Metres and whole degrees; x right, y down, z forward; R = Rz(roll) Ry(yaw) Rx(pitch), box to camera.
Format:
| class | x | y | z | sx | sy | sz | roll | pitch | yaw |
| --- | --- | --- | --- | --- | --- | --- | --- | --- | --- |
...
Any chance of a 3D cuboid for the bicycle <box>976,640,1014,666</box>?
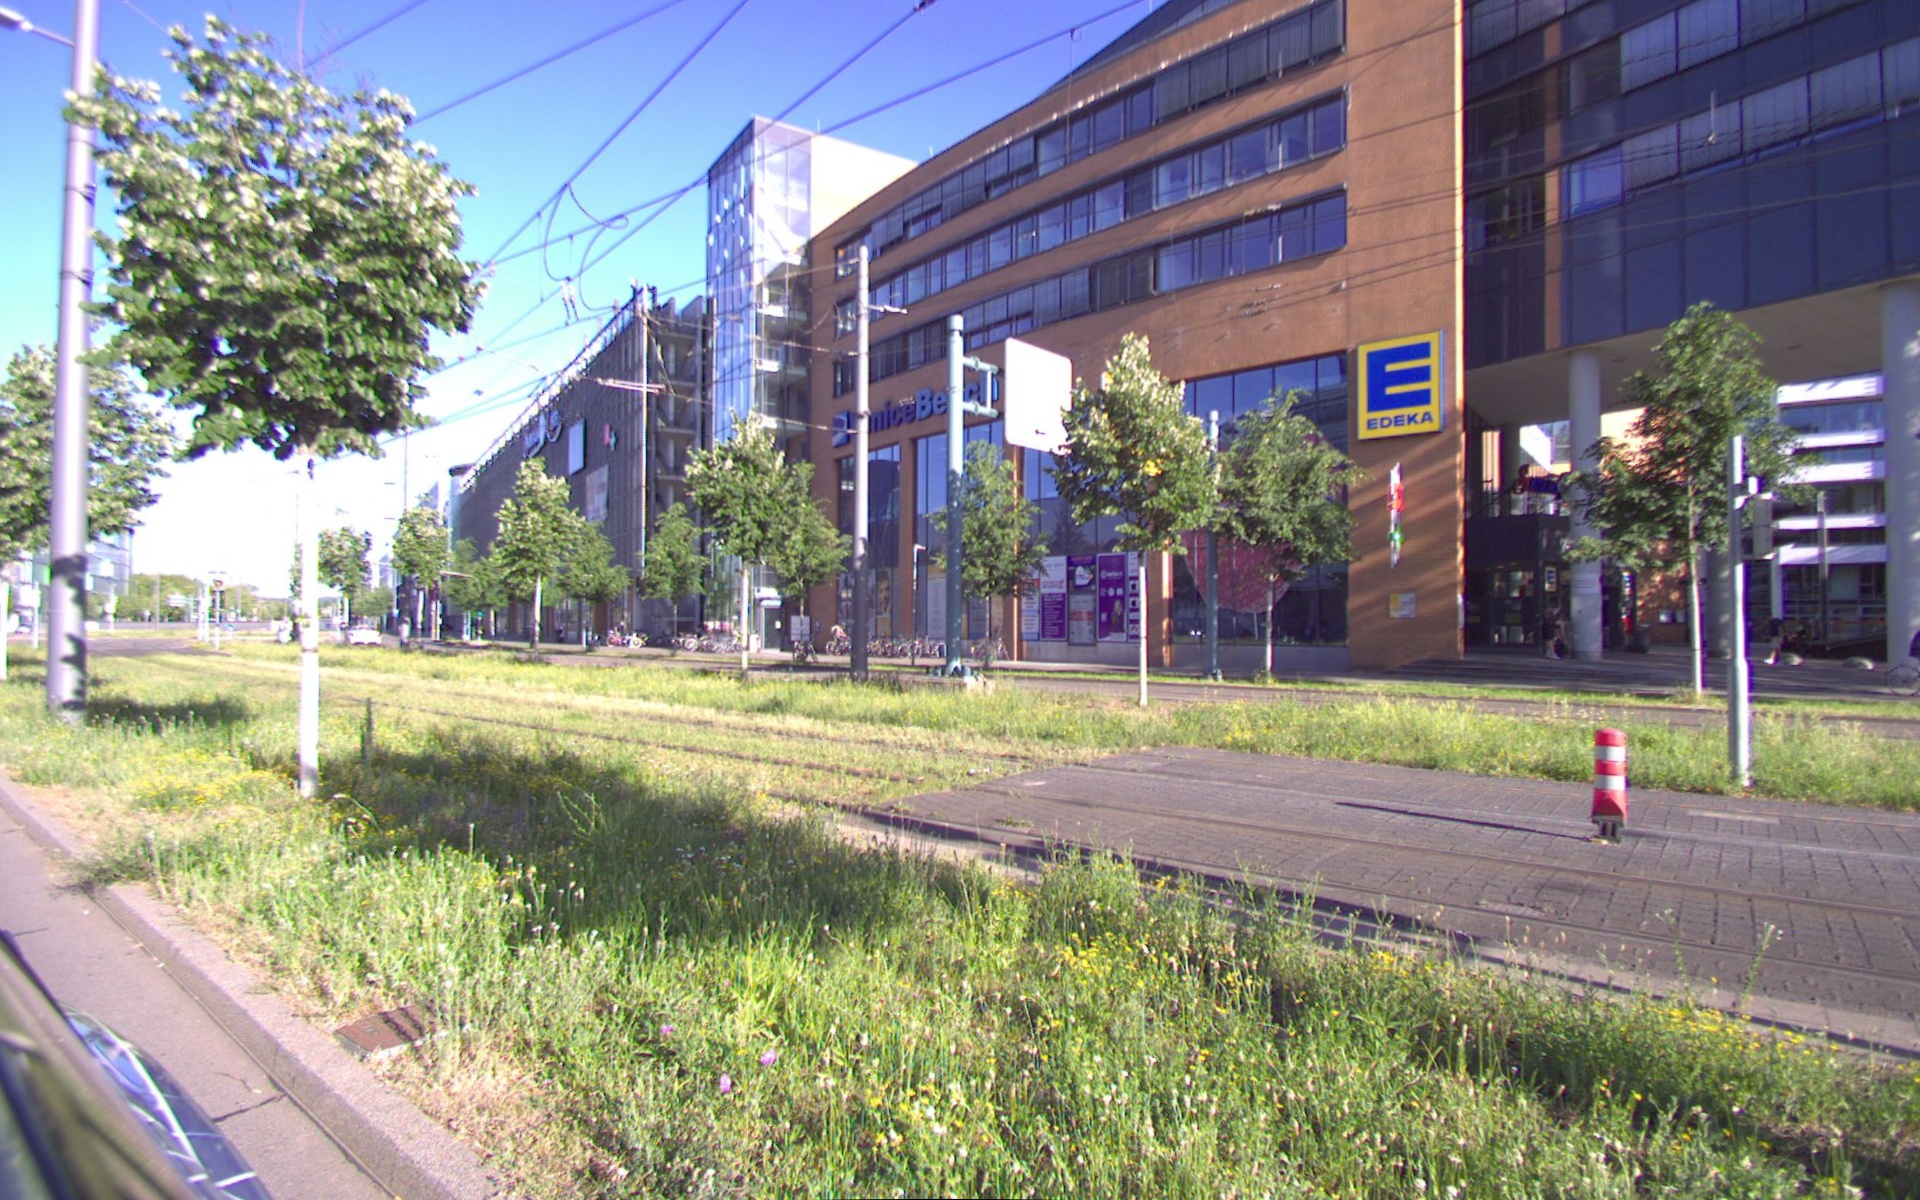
| class | x | y | z | sx | sy | sz | roll | pitch | yaw |
| --- | --- | --- | --- | --- | --- | --- | --- | --- | --- |
| bicycle | 1.486 | 2.192 | 42.216 | 1.744 | 1.057 | 0.491 | 1 | -2 | -42 |

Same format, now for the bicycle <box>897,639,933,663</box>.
| class | x | y | z | sx | sy | sz | roll | pitch | yaw |
| --- | --- | --- | --- | --- | --- | --- | --- | --- | --- |
| bicycle | -2.070 | 2.345 | 46.462 | 1.744 | 1.057 | 0.491 | 1 | -2 | -42 |

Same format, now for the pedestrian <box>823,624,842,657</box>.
| class | x | y | z | sx | sy | sz | roll | pitch | yaw |
| --- | --- | --- | --- | --- | --- | --- | --- | --- | --- |
| pedestrian | -6.498 | 2.051 | 51.577 | 0.736 | 1.681 | 0.676 | 1 | -2 | -43 |

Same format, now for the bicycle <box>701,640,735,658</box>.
| class | x | y | z | sx | sy | sz | roll | pitch | yaw |
| --- | --- | --- | --- | --- | --- | --- | --- | --- | --- |
| bicycle | -13.457 | 2.708 | 56.202 | 1.741 | 0.933 | 0.566 | 1 | -2 | -33 |

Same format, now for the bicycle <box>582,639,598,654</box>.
| class | x | y | z | sx | sy | sz | roll | pitch | yaw |
| --- | --- | --- | --- | --- | --- | --- | --- | --- | --- |
| bicycle | -21.799 | 2.750 | 59.668 | 0.380 | 0.875 | 1.775 | 1 | -2 | -37 |

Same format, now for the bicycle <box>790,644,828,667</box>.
| class | x | y | z | sx | sy | sz | roll | pitch | yaw |
| --- | --- | --- | --- | --- | --- | --- | --- | --- | --- |
| bicycle | -6.047 | 2.195 | 40.433 | 1.770 | 0.875 | 0.458 | -1 | -2 | 41 |

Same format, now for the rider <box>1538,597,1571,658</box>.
| class | x | y | z | sx | sy | sz | roll | pitch | yaw |
| --- | --- | --- | --- | --- | --- | --- | --- | --- | --- |
| rider | 18.054 | 0.821 | 30.717 | 0.712 | 1.816 | 0.710 | -2 | -2 | 41 |

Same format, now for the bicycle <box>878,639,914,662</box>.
| class | x | y | z | sx | sy | sz | roll | pitch | yaw |
| --- | --- | --- | --- | --- | --- | --- | --- | --- | --- |
| bicycle | -3.002 | 2.365 | 47.519 | 1.744 | 1.057 | 0.491 | 1 | -2 | -42 |

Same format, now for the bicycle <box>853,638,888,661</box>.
| class | x | y | z | sx | sy | sz | roll | pitch | yaw |
| --- | --- | --- | --- | --- | --- | --- | --- | --- | --- |
| bicycle | -4.314 | 2.393 | 49.035 | 1.744 | 1.057 | 0.491 | 1 | -2 | -42 |

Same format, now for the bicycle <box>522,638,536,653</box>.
| class | x | y | z | sx | sy | sz | roll | pitch | yaw |
| --- | --- | --- | --- | --- | --- | --- | --- | --- | --- |
| bicycle | -26.513 | 2.786 | 62.241 | 0.380 | 0.930 | 1.775 | 1 | -2 | -37 |

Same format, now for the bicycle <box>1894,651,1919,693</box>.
| class | x | y | z | sx | sy | sz | roll | pitch | yaw |
| --- | --- | --- | --- | --- | --- | --- | --- | --- | --- |
| bicycle | 22.164 | 1.621 | 22.572 | 1.886 | 0.917 | 0.493 | -1 | -2 | 38 |

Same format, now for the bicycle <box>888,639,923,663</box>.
| class | x | y | z | sx | sy | sz | roll | pitch | yaw |
| --- | --- | --- | --- | --- | --- | --- | --- | --- | --- |
| bicycle | -2.529 | 2.355 | 47.014 | 1.744 | 1.057 | 0.491 | 1 | -2 | -42 |

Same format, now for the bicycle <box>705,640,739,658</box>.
| class | x | y | z | sx | sy | sz | roll | pitch | yaw |
| --- | --- | --- | --- | --- | --- | --- | --- | --- | --- |
| bicycle | -13.081 | 2.699 | 55.643 | 1.741 | 0.933 | 0.566 | 1 | -2 | -33 |

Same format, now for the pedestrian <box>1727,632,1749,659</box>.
| class | x | y | z | sx | sy | sz | roll | pitch | yaw |
| --- | --- | --- | --- | --- | --- | --- | --- | --- | --- |
| pedestrian | 44.600 | 2.599 | 58.011 | 1.038 | 1.491 | 0.660 | -1 | -1 | -33 |

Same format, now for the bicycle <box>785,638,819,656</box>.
| class | x | y | z | sx | sy | sz | roll | pitch | yaw |
| --- | --- | --- | --- | --- | --- | --- | --- | --- | --- |
| bicycle | -8.523 | 2.523 | 54.654 | 1.741 | 0.933 | 0.566 | 1 | -2 | -33 |

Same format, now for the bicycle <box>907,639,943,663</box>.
| class | x | y | z | sx | sy | sz | roll | pitch | yaw |
| --- | --- | --- | --- | --- | --- | --- | --- | --- | --- |
| bicycle | -1.598 | 2.303 | 45.990 | 1.744 | 1.057 | 0.491 | 1 | -2 | -42 |

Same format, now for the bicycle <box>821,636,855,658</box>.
| class | x | y | z | sx | sy | sz | roll | pitch | yaw |
| --- | --- | --- | --- | --- | --- | --- | --- | --- | --- |
| bicycle | -6.141 | 2.367 | 51.116 | 1.744 | 1.057 | 0.491 | 1 | -2 | -42 |

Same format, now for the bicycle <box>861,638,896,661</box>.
| class | x | y | z | sx | sy | sz | roll | pitch | yaw |
| --- | --- | --- | --- | --- | --- | --- | --- | --- | --- |
| bicycle | -3.889 | 2.384 | 48.485 | 1.744 | 1.057 | 0.491 | 1 | -2 | -42 |

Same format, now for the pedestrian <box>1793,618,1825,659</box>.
| class | x | y | z | sx | sy | sz | roll | pitch | yaw |
| --- | --- | --- | --- | --- | --- | --- | --- | --- | --- |
| pedestrian | 36.302 | 1.640 | 43.267 | 0.778 | 1.720 | 0.810 | 0 | -1 | -33 |

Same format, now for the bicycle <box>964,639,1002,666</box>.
| class | x | y | z | sx | sy | sz | roll | pitch | yaw |
| --- | --- | --- | --- | --- | --- | --- | --- | --- | --- |
| bicycle | 0.994 | 2.202 | 42.675 | 1.744 | 1.057 | 0.491 | 1 | -2 | -42 |

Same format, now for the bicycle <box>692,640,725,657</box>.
| class | x | y | z | sx | sy | sz | roll | pitch | yaw |
| --- | --- | --- | --- | --- | --- | --- | --- | --- | --- |
| bicycle | -14.260 | 2.727 | 57.401 | 1.741 | 0.933 | 0.566 | 1 | -2 | -33 |

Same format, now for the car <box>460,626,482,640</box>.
| class | x | y | z | sx | sy | sz | roll | pitch | yaw |
| --- | --- | --- | --- | --- | --- | --- | --- | --- | --- |
| car | -56.404 | 3.800 | 116.606 | 1.559 | 1.541 | 3.758 | 0 | -1 | -37 |

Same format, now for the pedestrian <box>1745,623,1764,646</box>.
| class | x | y | z | sx | sy | sz | roll | pitch | yaw |
| --- | --- | --- | --- | --- | --- | --- | --- | --- | --- |
| pedestrian | 46.108 | 1.988 | 58.713 | 0.627 | 1.287 | 0.664 | 0 | -1 | -33 |

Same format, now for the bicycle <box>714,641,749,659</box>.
| class | x | y | z | sx | sy | sz | roll | pitch | yaw |
| --- | --- | --- | --- | --- | --- | --- | --- | --- | --- |
| bicycle | -12.250 | 2.679 | 54.270 | 1.741 | 0.933 | 0.566 | 1 | -2 | -33 |

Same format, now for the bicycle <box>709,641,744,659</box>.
| class | x | y | z | sx | sy | sz | roll | pitch | yaw |
| --- | --- | --- | --- | --- | --- | --- | --- | --- | --- |
| bicycle | -12.673 | 2.690 | 55.000 | 1.741 | 0.933 | 0.566 | 1 | -2 | -33 |

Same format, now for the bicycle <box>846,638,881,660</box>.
| class | x | y | z | sx | sy | sz | roll | pitch | yaw |
| --- | --- | --- | --- | --- | --- | --- | --- | --- | --- |
| bicycle | -4.723 | 2.402 | 49.552 | 1.744 | 1.057 | 0.491 | 1 | -2 | -42 |

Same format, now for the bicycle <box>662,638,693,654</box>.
| class | x | y | z | sx | sy | sz | roll | pitch | yaw |
| --- | --- | --- | --- | --- | --- | --- | --- | --- | --- |
| bicycle | -17.049 | 2.797 | 61.107 | 1.741 | 0.933 | 0.492 | 1 | -2 | -33 |

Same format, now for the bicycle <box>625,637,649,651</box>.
| class | x | y | z | sx | sy | sz | roll | pitch | yaw |
| --- | --- | --- | --- | --- | --- | --- | --- | --- | --- |
| bicycle | -21.074 | 2.873 | 66.023 | 1.377 | 0.933 | 0.463 | 1 | -2 | -33 |

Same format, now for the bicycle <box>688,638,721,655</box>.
| class | x | y | z | sx | sy | sz | roll | pitch | yaw |
| --- | --- | --- | --- | --- | --- | --- | --- | --- | --- |
| bicycle | -14.623 | 2.649 | 57.955 | 1.741 | 0.933 | 0.492 | 1 | -2 | -33 |

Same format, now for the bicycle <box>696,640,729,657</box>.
| class | x | y | z | sx | sy | sz | roll | pitch | yaw |
| --- | --- | --- | --- | --- | --- | --- | --- | --- | --- |
| bicycle | -13.887 | 2.718 | 56.767 | 1.741 | 0.933 | 0.566 | 1 | -2 | -33 |

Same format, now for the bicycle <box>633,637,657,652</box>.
| class | x | y | z | sx | sy | sz | roll | pitch | yaw |
| --- | --- | --- | --- | --- | --- | --- | --- | --- | --- |
| bicycle | -20.207 | 2.854 | 64.850 | 1.377 | 0.933 | 0.463 | 1 | -2 | -33 |

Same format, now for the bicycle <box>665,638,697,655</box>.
| class | x | y | z | sx | sy | sz | roll | pitch | yaw |
| --- | --- | --- | --- | --- | --- | --- | --- | --- | --- |
| bicycle | -16.701 | 2.781 | 60.590 | 1.741 | 0.933 | 0.492 | 1 | -2 | -33 |

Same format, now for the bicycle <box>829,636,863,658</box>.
| class | x | y | z | sx | sy | sz | roll | pitch | yaw |
| --- | --- | --- | --- | --- | --- | --- | --- | --- | --- |
| bicycle | -5.714 | 2.358 | 50.661 | 1.744 | 1.057 | 0.491 | 1 | -2 | -42 |

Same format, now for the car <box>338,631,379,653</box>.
| class | x | y | z | sx | sy | sz | roll | pitch | yaw |
| --- | --- | --- | --- | --- | --- | --- | --- | --- | --- |
| car | -38.722 | 2.655 | 65.097 | 1.782 | 1.338 | 4.414 | 2 | -2 | -37 |

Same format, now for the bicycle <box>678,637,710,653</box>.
| class | x | y | z | sx | sy | sz | roll | pitch | yaw |
| --- | --- | --- | --- | --- | --- | --- | --- | --- | --- |
| bicycle | -15.501 | 2.615 | 59.093 | 1.741 | 0.933 | 0.492 | 1 | -2 | -33 |

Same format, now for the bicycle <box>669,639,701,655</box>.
| class | x | y | z | sx | sy | sz | roll | pitch | yaw |
| --- | --- | --- | --- | --- | --- | --- | --- | --- | --- |
| bicycle | -16.289 | 2.772 | 59.991 | 1.741 | 0.933 | 0.566 | 1 | -2 | -33 |

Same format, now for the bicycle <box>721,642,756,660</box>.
| class | x | y | z | sx | sy | sz | roll | pitch | yaw |
| --- | --- | --- | --- | --- | --- | --- | --- | --- | --- |
| bicycle | -11.661 | 2.665 | 53.289 | 1.741 | 0.933 | 0.566 | 1 | -2 | -33 |

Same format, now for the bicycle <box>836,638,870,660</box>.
| class | x | y | z | sx | sy | sz | roll | pitch | yaw |
| --- | --- | --- | --- | --- | --- | --- | --- | --- | --- |
| bicycle | -5.319 | 2.415 | 50.212 | 1.744 | 1.057 | 0.491 | 1 | -2 | -42 |

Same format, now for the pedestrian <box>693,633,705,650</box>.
| class | x | y | z | sx | sy | sz | roll | pitch | yaw |
| --- | --- | --- | --- | --- | --- | --- | --- | --- | --- |
| pedestrian | -17.065 | 2.706 | 66.114 | 0.619 | 1.063 | 0.450 | 1 | -2 | -37 |

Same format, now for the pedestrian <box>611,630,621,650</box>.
| class | x | y | z | sx | sy | sz | roll | pitch | yaw |
| --- | --- | --- | --- | --- | --- | --- | --- | --- | --- |
| pedestrian | -23.167 | 2.705 | 68.221 | 0.442 | 1.299 | 0.631 | 1 | -2 | -37 |
